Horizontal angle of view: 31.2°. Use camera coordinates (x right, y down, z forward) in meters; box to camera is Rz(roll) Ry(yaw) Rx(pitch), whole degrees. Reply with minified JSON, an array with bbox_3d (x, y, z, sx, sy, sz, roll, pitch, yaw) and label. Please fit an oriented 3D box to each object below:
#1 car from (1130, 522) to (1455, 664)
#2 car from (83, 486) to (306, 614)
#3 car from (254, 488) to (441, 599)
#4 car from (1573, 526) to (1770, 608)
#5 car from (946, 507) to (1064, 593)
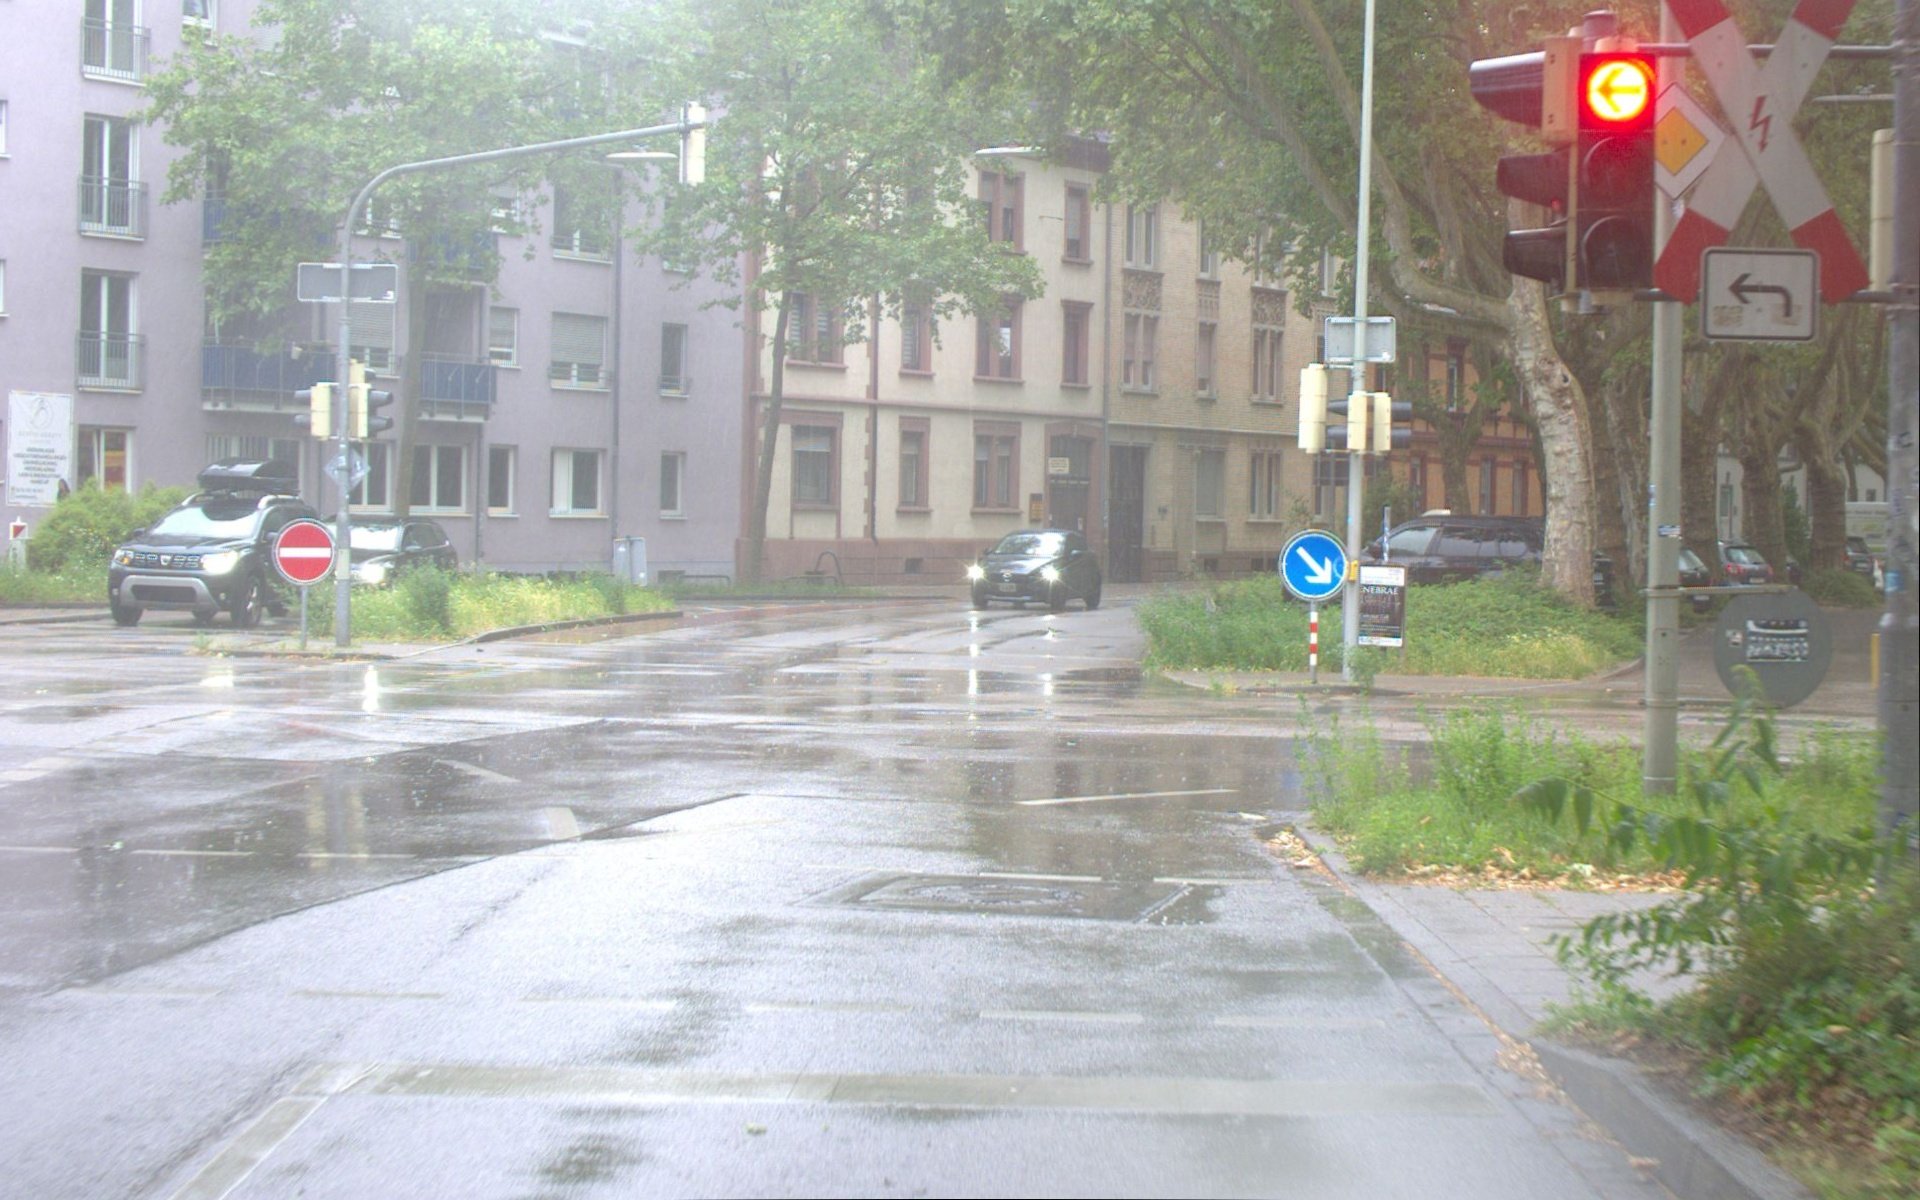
[{"bbox_3d":[3.682,-0.088,37.828,3.480,1.518,1.519,0,2,9],"label":"car"},{"bbox_3d":[-9.686,-0.663,43.760,1.725,1.547,3.559,0,2,6],"label":"car"},{"bbox_3d":[-8.819,-0.842,49.760,1.725,1.547,3.559,0,2,6],"label":"car"},{"bbox_3d":[14.548,-0.694,70.331,3.612,1.612,1.679,0,2,29],"label":"car"},{"bbox_3d":[0.874,-0.958,64.611,1.603,1.547,3.558,0,2,11],"label":"car"}]
